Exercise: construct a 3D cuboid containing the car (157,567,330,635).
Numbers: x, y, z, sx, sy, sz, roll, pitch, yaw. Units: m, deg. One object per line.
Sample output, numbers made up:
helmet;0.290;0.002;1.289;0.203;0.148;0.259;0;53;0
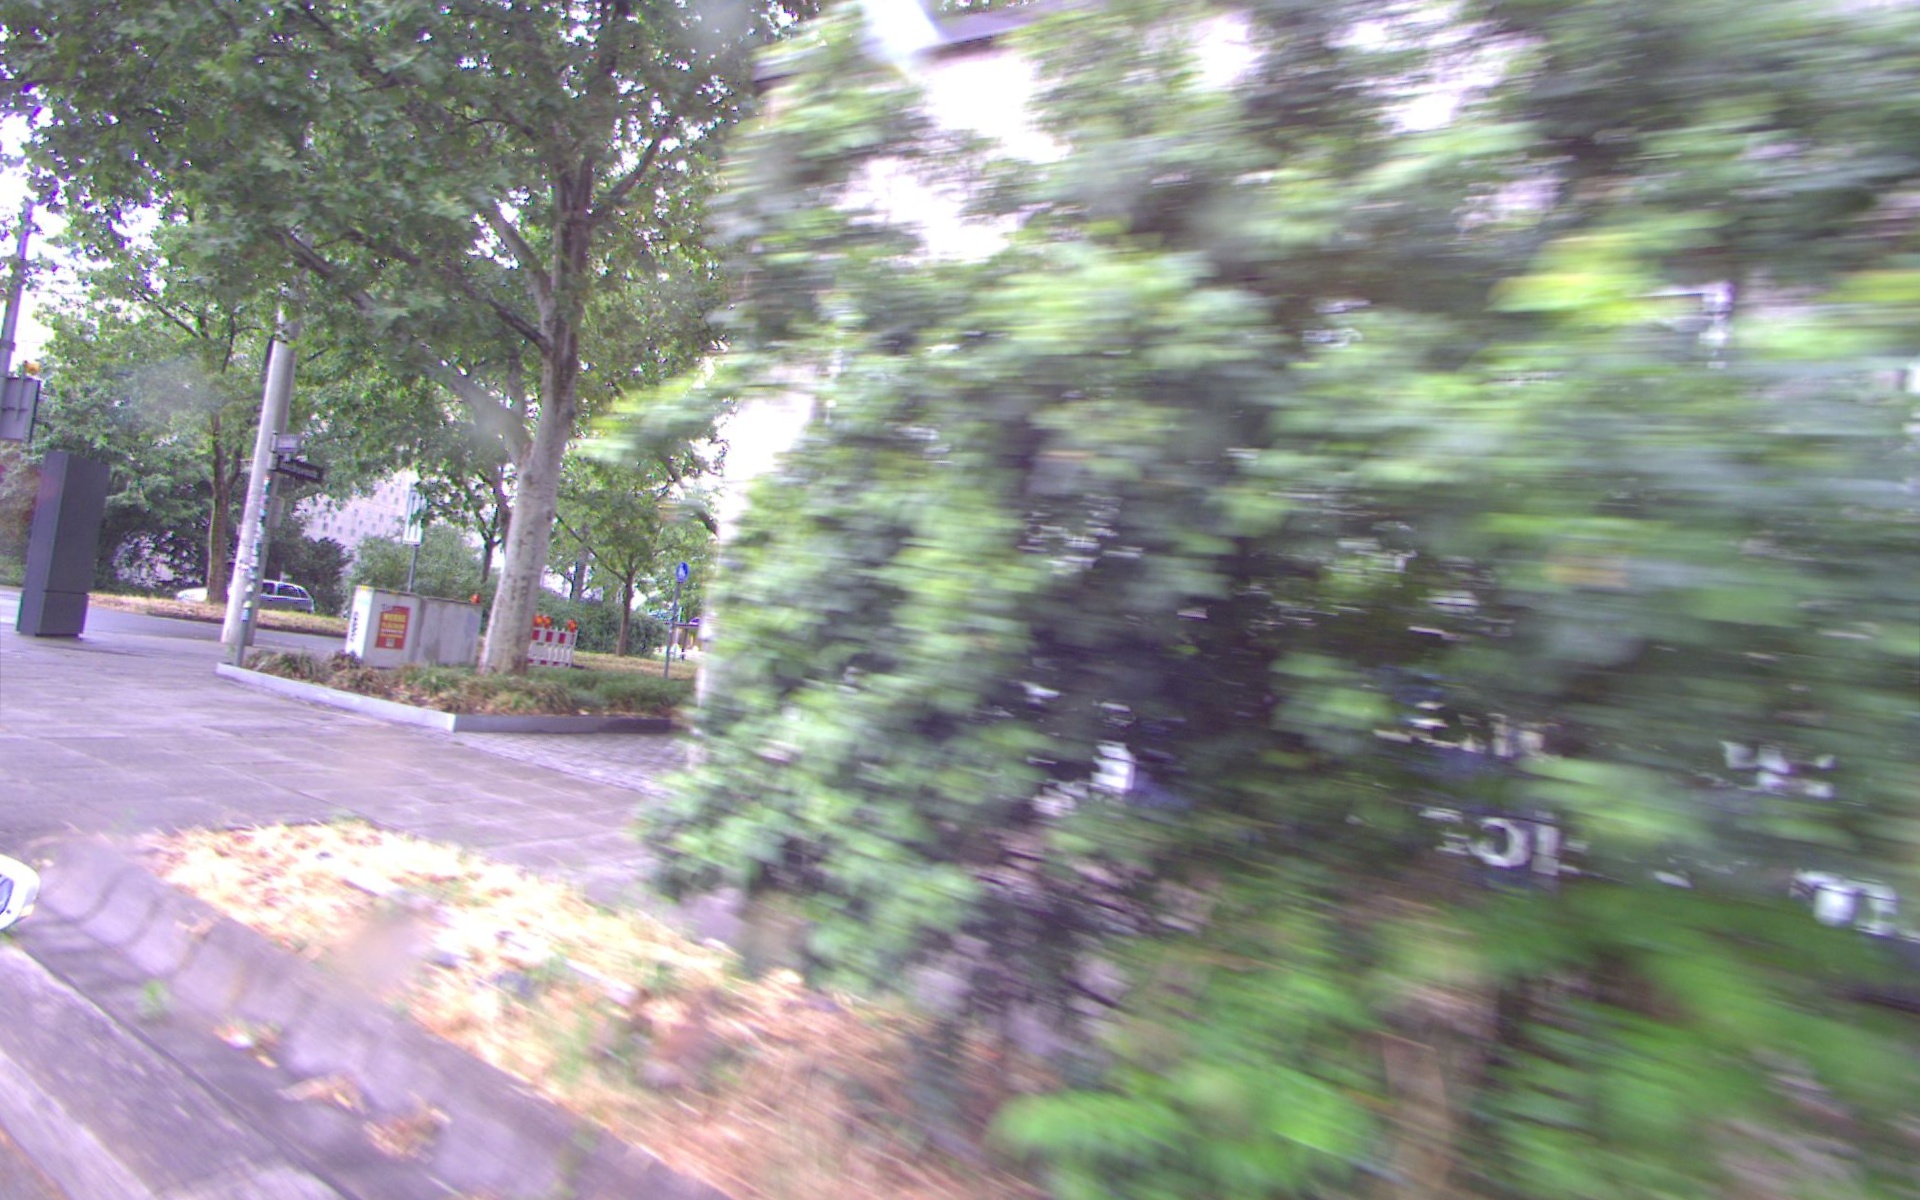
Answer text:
car;-23.203;0.083;32.730;1.964;1.456;4.007;6;-6;25
